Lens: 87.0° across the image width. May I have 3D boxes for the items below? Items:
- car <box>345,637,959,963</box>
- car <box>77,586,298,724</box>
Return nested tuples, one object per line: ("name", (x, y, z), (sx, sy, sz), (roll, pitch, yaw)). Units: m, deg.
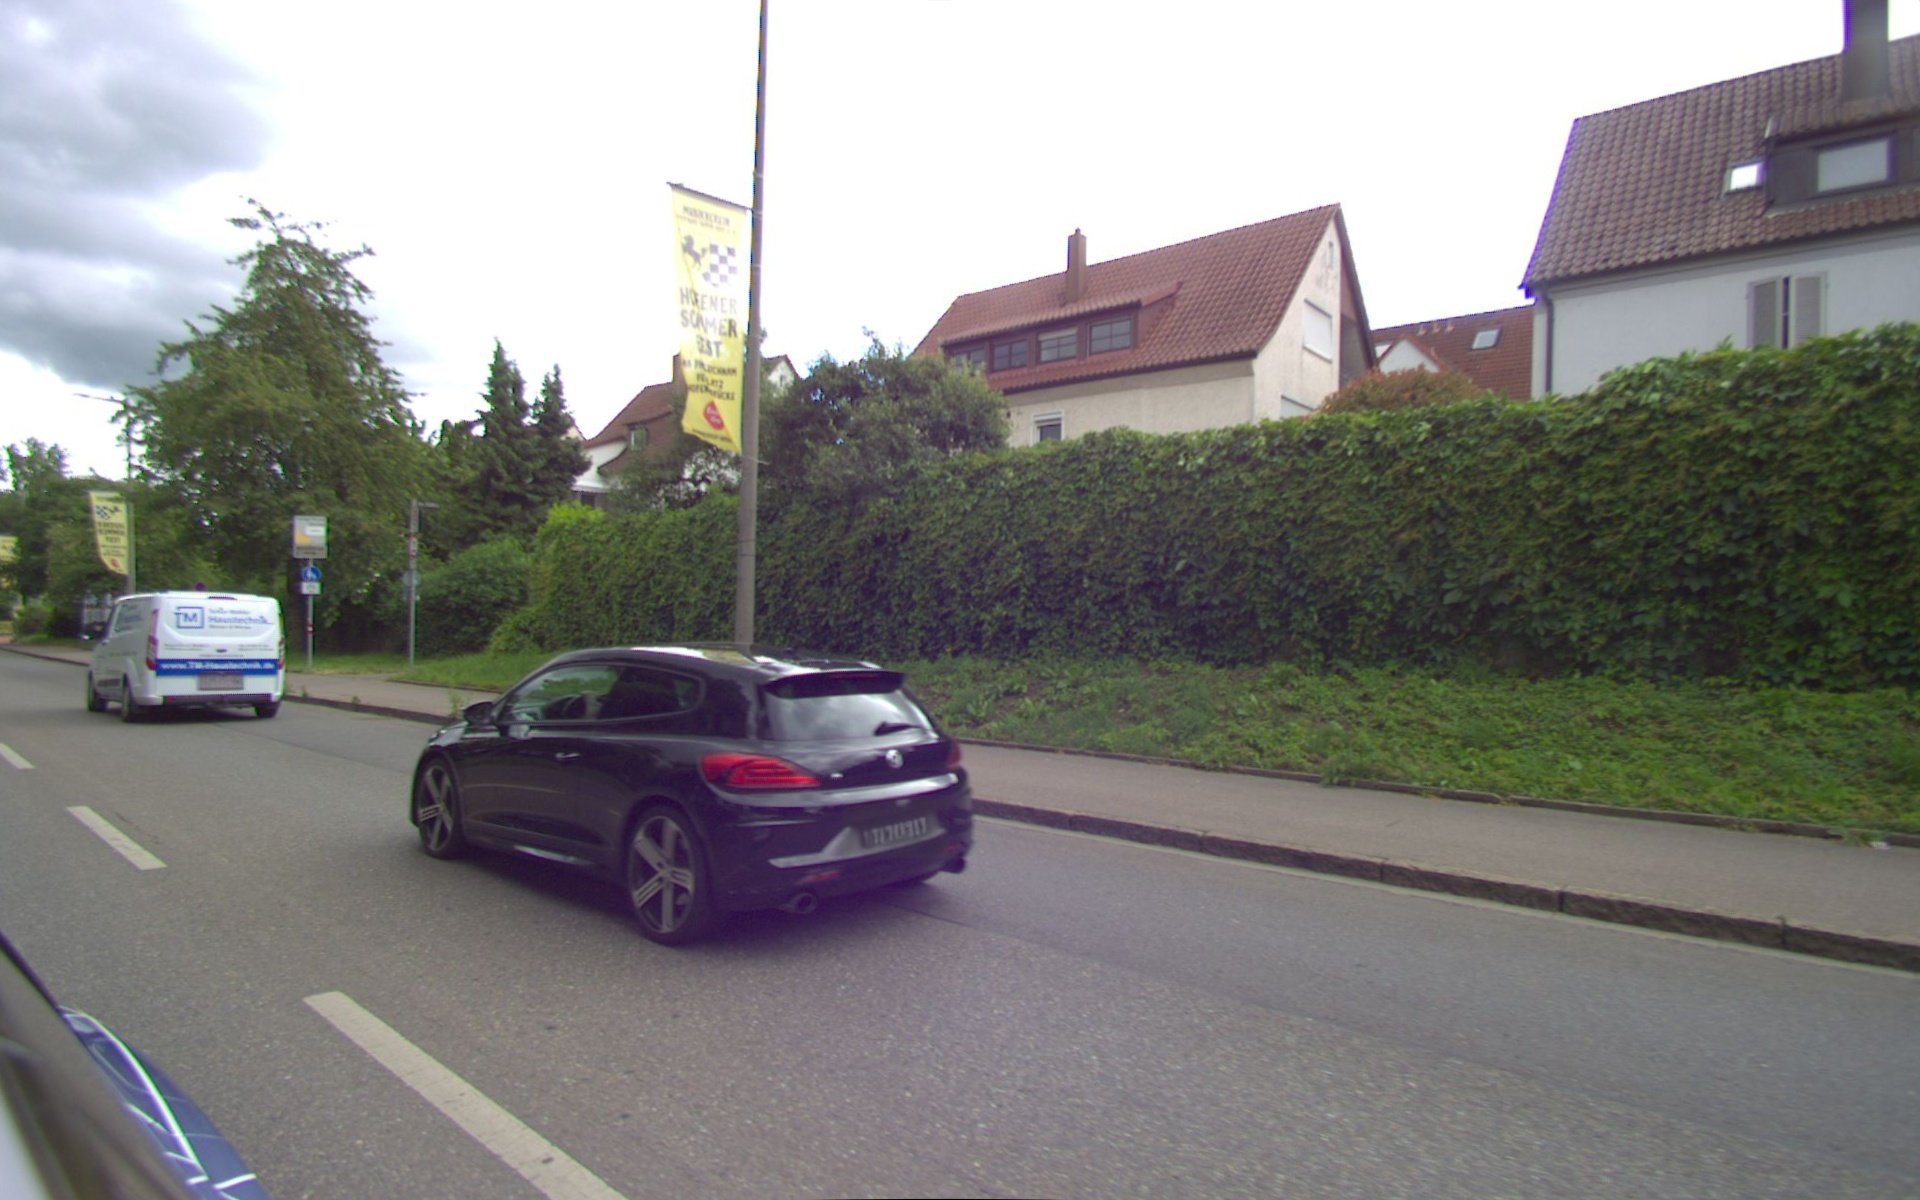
("car", (-2.214, 0.935, 6.432), (4.476, 1.358, 1.633), (-1, -3, 42))
("car", (-12.782, 0.893, 16.624), (4.909, 1.947, 1.886), (-2, -5, 41))
